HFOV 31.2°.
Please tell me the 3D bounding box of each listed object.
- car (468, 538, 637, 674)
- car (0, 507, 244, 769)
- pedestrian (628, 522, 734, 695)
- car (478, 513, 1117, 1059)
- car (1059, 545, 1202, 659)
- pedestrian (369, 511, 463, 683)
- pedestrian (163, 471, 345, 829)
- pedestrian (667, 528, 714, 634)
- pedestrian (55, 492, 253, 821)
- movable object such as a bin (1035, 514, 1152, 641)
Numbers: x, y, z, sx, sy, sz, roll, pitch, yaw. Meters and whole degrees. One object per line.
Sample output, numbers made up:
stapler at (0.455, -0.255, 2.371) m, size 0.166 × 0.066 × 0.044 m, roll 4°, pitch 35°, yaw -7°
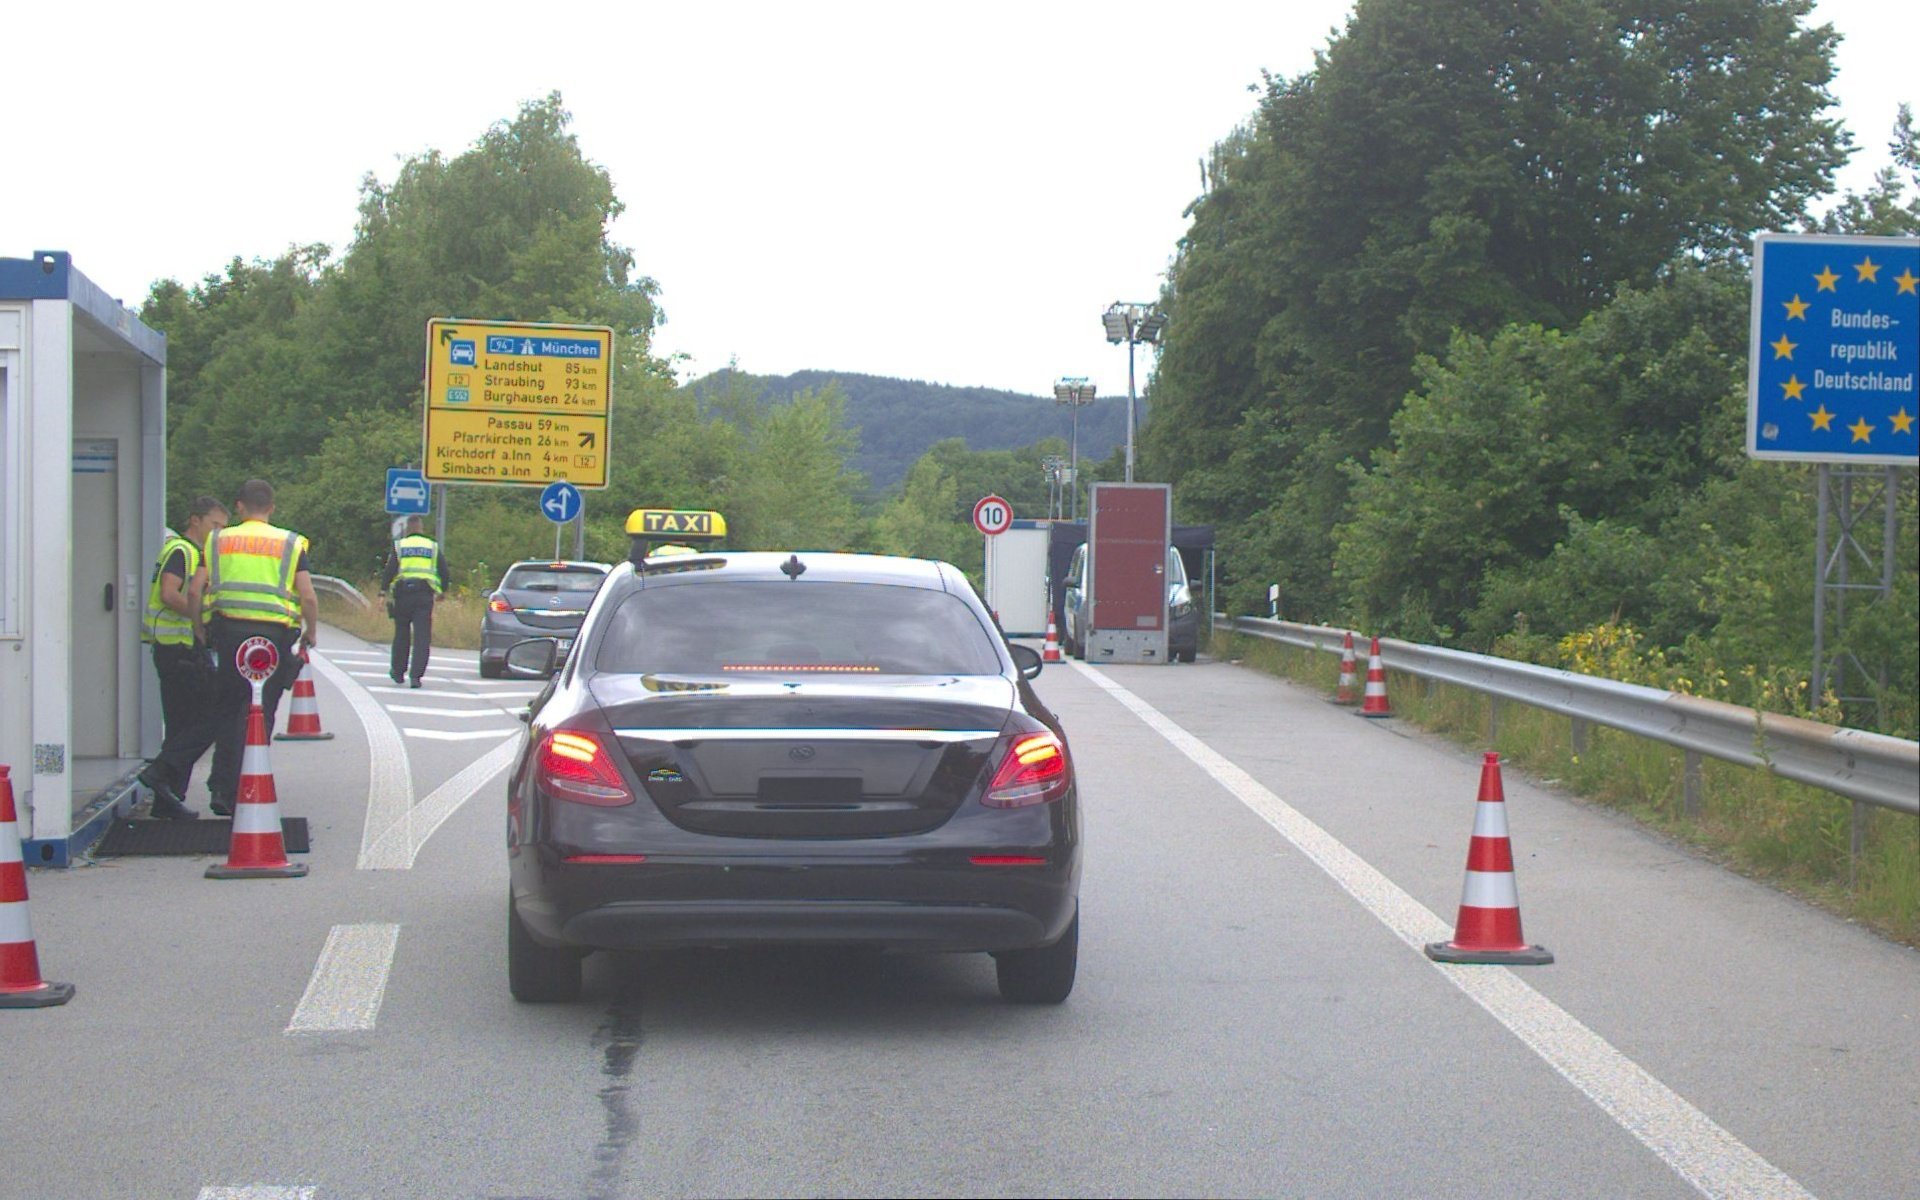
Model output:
car at (-4.726, 0.031, 40.318) m, size 1.855 × 1.493 × 4.257 m, roll 0°, pitch 1°, yaw -5°
car at (-6.316, 0.217, 24.801) m, size 1.868 × 1.737 × 4.009 m, roll 0°, pitch 1°, yaw -6°
pedestrian at (-2.794, 0.078, 34.344) m, size 0.908 × 1.692 × 0.914 m, roll 0°, pitch 1°, yaw -14°
car at (-0.641, 0.512, 12.252) m, size 1.855 × 1.589 × 4.376 m, roll 0°, pitch 1°, yaw -4°
car at (2.704, -0.010, 55.590) m, size 1.916 × 1.672 × 5.083 m, roll 2°, pitch 1°, yaw -1°
pedestrian at (-5.687, -0.034, 35.918) m, size 0.908 × 1.763 × 0.914 m, roll 1°, pitch 1°, yaw -12°
pedestrian at (-3.673, 0.251, 17.937) m, size 0.812 × 1.824 × 0.809 m, roll 0°, pitch 1°, yaw -3°
pedestrian at (-4.994, -0.353, 63.680) m, size 0.664 × 1.954 × 0.759 m, roll 0°, pitch 1°, yaw 14°
pedestrian at (-4.294, 0.287, 18.355) m, size 0.760 × 1.712 × 0.817 m, roll 0°, pitch 1°, yaw 10°
movable object such as a bin at (2.471, -0.445, 64.382) m, size 1.993 × 2.272 × 4.168 m, roll 1°, pitch 1°, yaw 0°
